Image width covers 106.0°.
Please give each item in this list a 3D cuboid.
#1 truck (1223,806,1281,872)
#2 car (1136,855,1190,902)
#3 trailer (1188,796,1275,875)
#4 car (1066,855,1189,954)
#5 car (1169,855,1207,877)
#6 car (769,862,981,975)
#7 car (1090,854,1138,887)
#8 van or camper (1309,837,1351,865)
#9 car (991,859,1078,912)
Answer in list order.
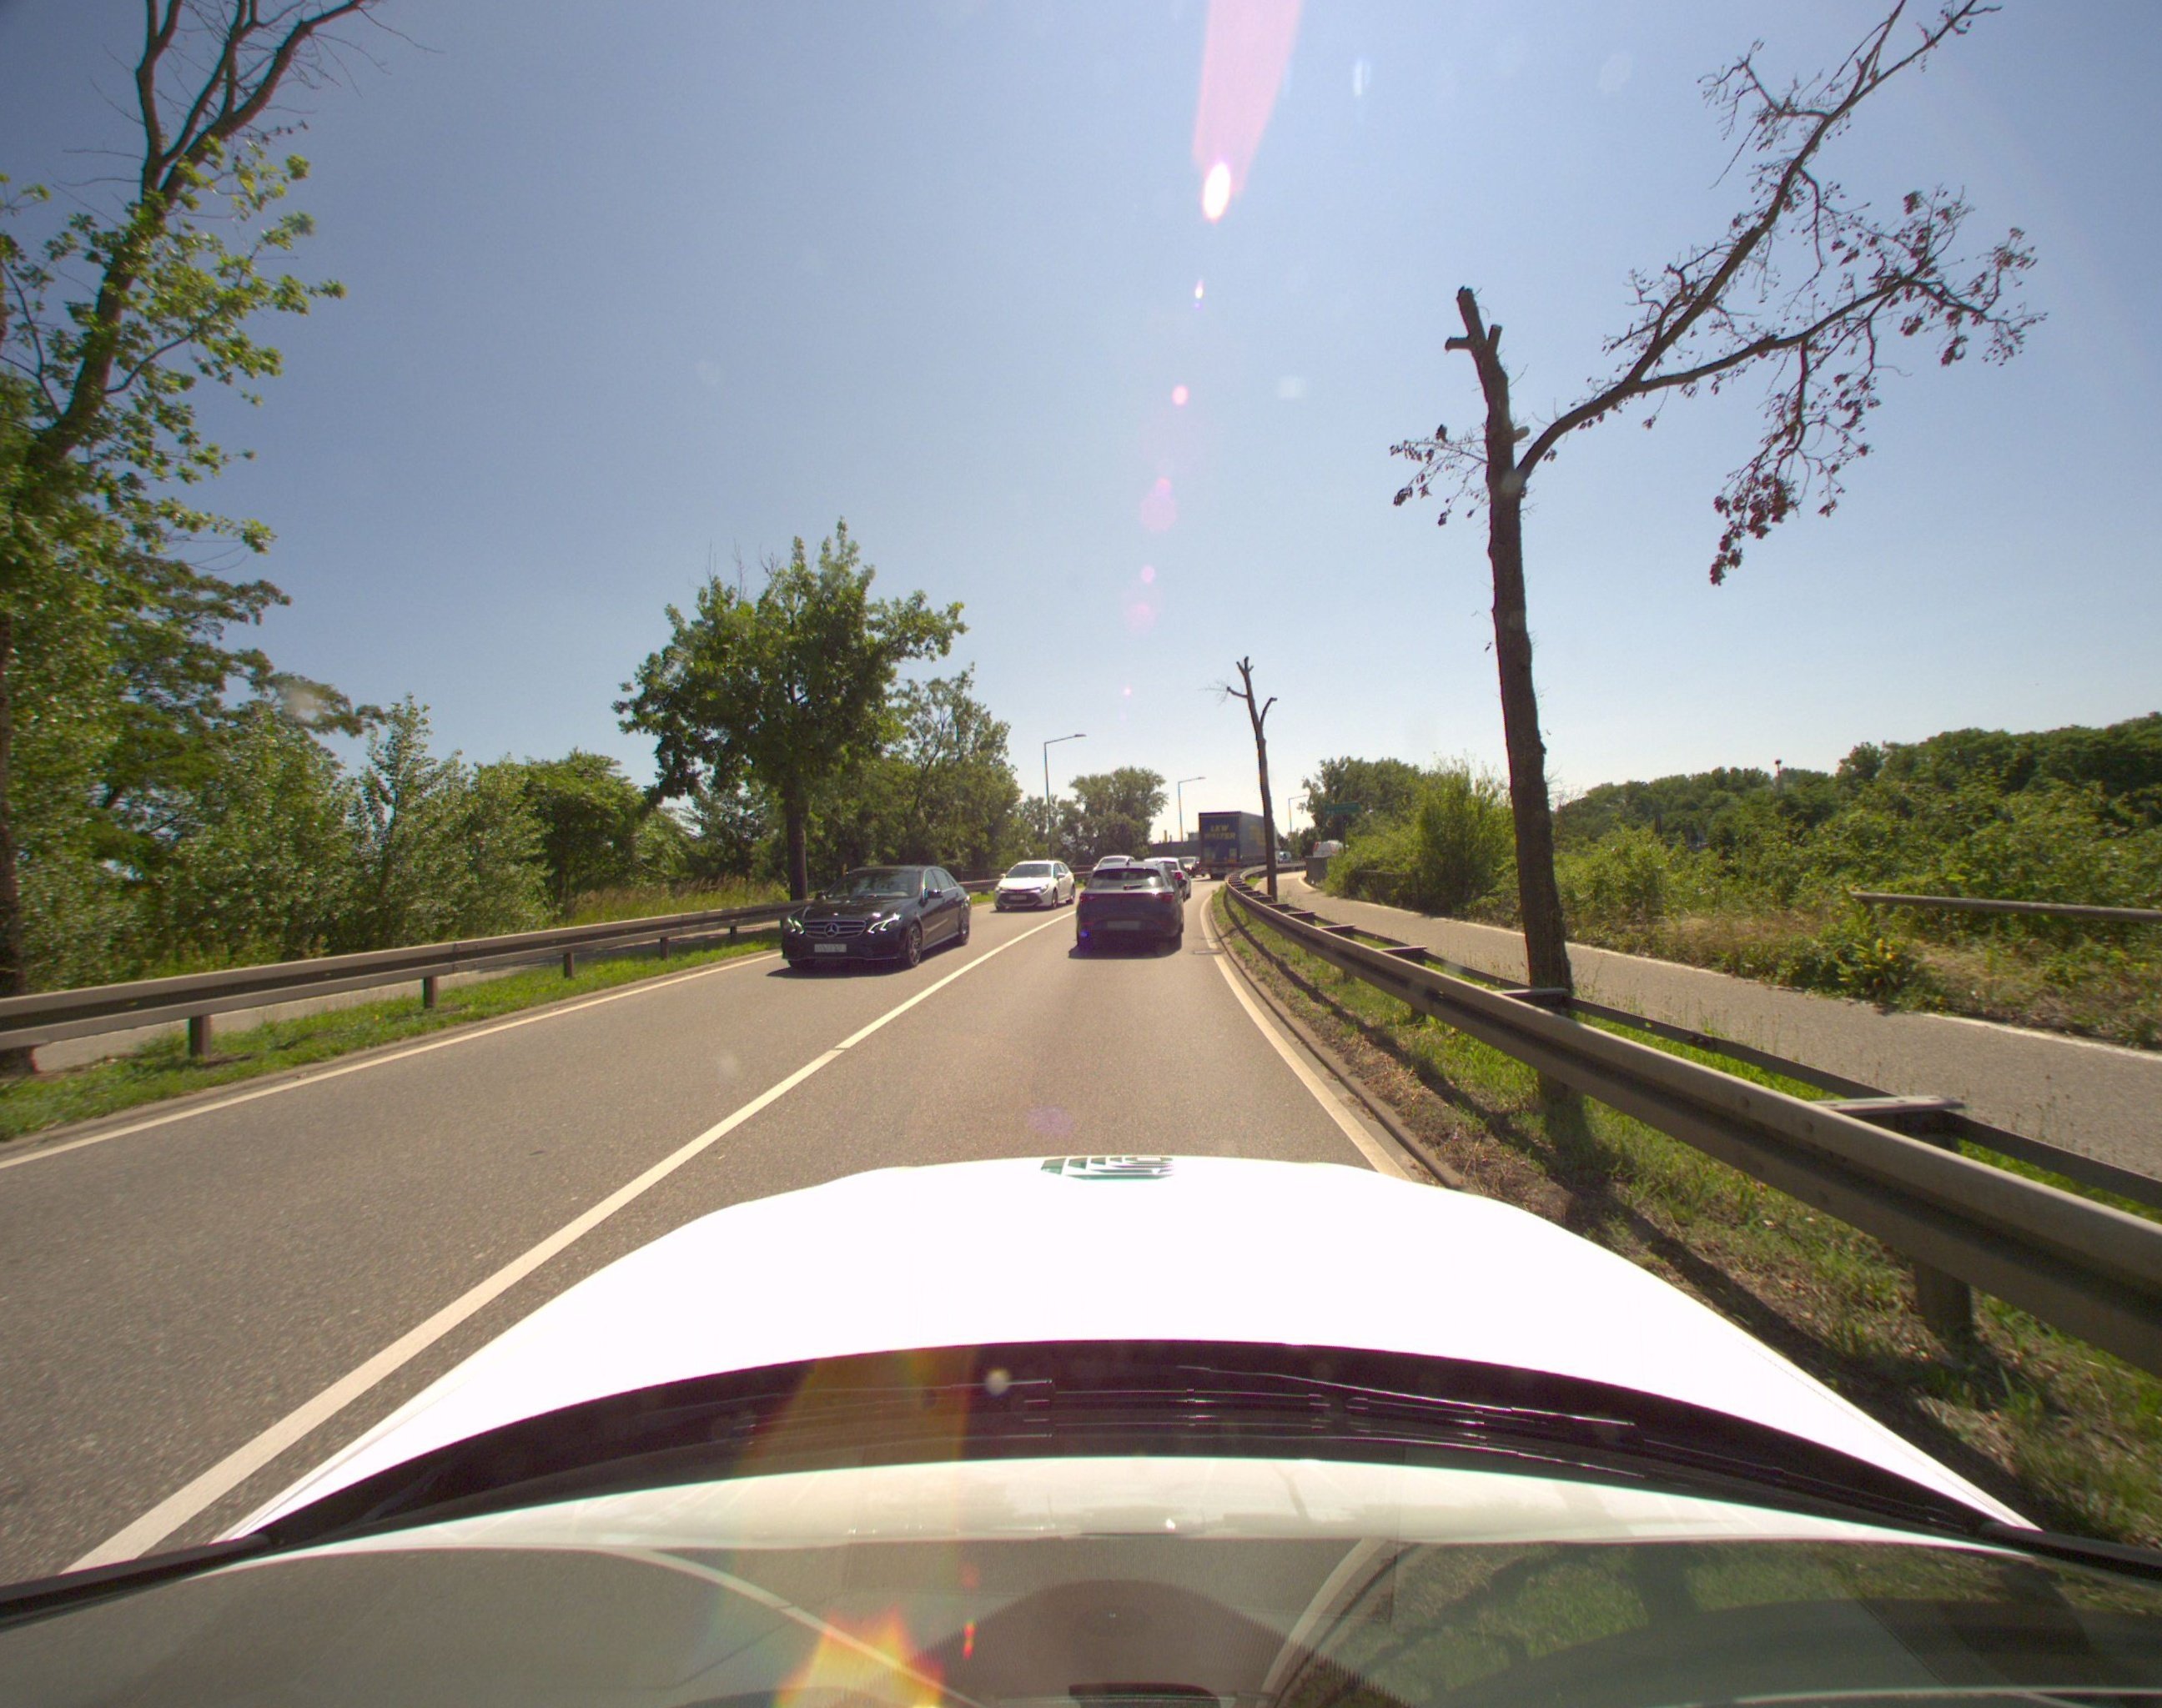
[{"bbox_3d":[12.791,-0.986,60.438,3.143,4.585,7.433,-1,-1,20],"label":"truck"},{"bbox_3d":[2.806,0.787,27.368,1.583,1.461,3.554,0,0,9],"label":"car"},{"bbox_3d":[10.255,-1.031,53.901,3.107,4.614,13.016,-1,-1,22],"label":"trailer"},{"bbox_3d":[0.952,0.787,14.397,1.835,1.499,3.766,-1,0,8],"label":"car"},{"bbox_3d":[7.386,0.815,55.918,1.702,1.428,4.128,-2,0,20],"label":"car"},{"bbox_3d":[-3.052,0.885,13.260,1.837,1.467,4.747,-1,0,5],"label":"car"},{"bbox_3d":[1.709,0.798,40.704,1.735,1.546,4.406,-1,0,11],"label":"car"},{"bbox_3d":[25.657,-0.354,83.669,2.181,2.711,5.963,-2,-1,36],"label":"van or camper"},{"bbox_3d":[-1.309,0.899,25.054,1.690,1.447,4.471,-1,0,10],"label":"car"}]
